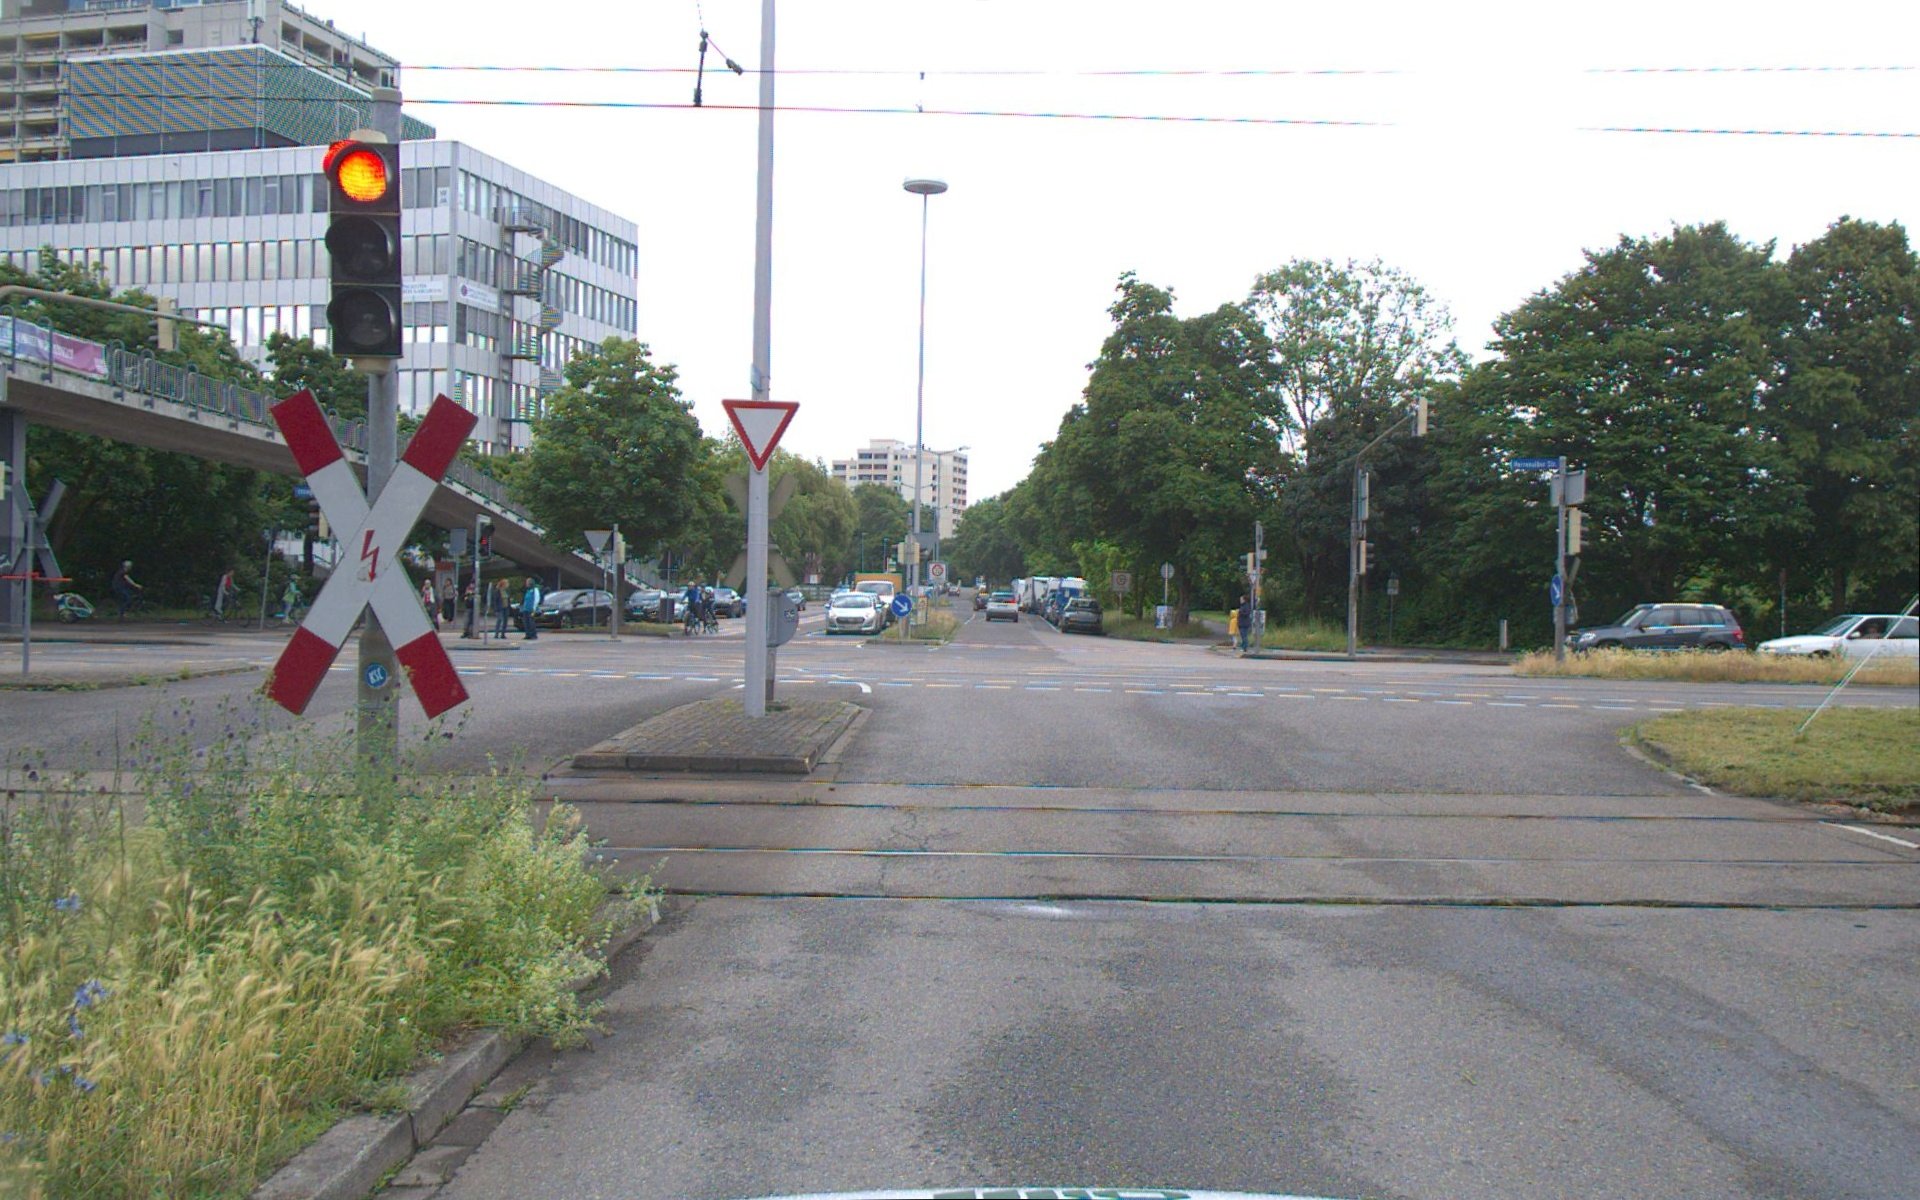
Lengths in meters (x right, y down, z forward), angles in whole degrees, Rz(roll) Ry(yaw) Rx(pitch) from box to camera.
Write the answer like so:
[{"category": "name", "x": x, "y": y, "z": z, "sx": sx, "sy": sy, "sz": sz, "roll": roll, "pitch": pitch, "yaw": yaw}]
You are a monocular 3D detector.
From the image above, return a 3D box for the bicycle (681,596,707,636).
[{"category": "bicycle", "x": -8.978, "y": 0.530, "z": 55.919, "sx": 0.532, "sy": 1.289, "sz": 2.110, "roll": 1, "pitch": 0, "yaw": -1}]

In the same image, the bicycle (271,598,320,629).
[{"category": "bicycle", "x": -21.677, "y": 0.430, "z": 54.016, "sx": 0.618, "sy": 0.941, "sz": 2.523, "roll": 1, "pitch": 0, "yaw": -1}]

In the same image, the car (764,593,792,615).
[{"category": "car", "x": -13.811, "y": 0.277, "z": 125.435, "sx": 1.637, "sy": 1.579, "sz": 4.000, "roll": 1, "pitch": 0, "yaw": 0}]

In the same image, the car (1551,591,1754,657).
[{"category": "car", "x": 17.562, "y": 0.592, "z": 42.085, "sx": 4.373, "sy": 1.530, "sz": 1.846, "roll": 1, "pitch": 0, "yaw": 0}]

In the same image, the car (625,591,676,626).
[{"category": "car", "x": -14.459, "y": 0.387, "z": 77.414, "sx": 1.637, "sy": 1.579, "sz": 3.892, "roll": 1, "pitch": 0, "yaw": 0}]

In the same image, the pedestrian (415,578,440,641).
[{"category": "pedestrian", "x": -14.617, "y": 0.253, "z": 45.401, "sx": 0.608, "sy": 1.721, "sz": 0.404, "roll": 1, "pitch": 0, "yaw": -15}]

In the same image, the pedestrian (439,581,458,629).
[{"category": "pedestrian", "x": -17.409, "y": 0.162, "z": 56.268, "sx": 0.570, "sy": 1.607, "sz": 0.777, "roll": 1, "pitch": 0, "yaw": -19}]

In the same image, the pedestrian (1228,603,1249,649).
[{"category": "pedestrian", "x": 8.400, "y": 0.789, "z": 49.974, "sx": 0.516, "sy": 1.365, "sz": 0.525, "roll": 1, "pitch": 0, "yaw": -1}]

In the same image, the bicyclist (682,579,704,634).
[{"category": "bicyclist", "x": -8.950, "y": 0.216, "z": 55.441, "sx": 0.631, "sy": 1.799, "sz": 0.646, "roll": 1, "pitch": 0, "yaw": -1}]

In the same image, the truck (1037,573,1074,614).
[{"category": "truck", "x": 6.909, "y": -0.472, "z": 120.171, "sx": 1.954, "sy": 2.888, "sz": 5.726, "roll": 1, "pitch": 0, "yaw": -4}]

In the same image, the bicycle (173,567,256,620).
[{"category": "bicycle", "x": -23.976, "y": -0.212, "z": 53.231, "sx": 2.316, "sy": 1.653, "sz": 0.526, "roll": 1, "pitch": 0, "yaw": -12}]

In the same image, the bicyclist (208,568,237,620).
[{"category": "bicyclist", "x": -23.755, "y": -0.207, "z": 53.288, "sx": 0.734, "sy": 1.653, "sz": 0.526, "roll": 1, "pitch": 0, "yaw": -11}]

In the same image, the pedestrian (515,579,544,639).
[{"category": "pedestrian", "x": -11.880, "y": 0.239, "z": 45.642, "sx": 0.673, "sy": 1.633, "sz": 0.487, "roll": 1, "pitch": 0, "yaw": -5}]

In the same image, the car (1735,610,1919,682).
[{"category": "car", "x": 18.604, "y": 0.946, "z": 34.561, "sx": 4.052, "sy": 1.381, "sz": 1.647, "roll": 1, "pitch": 0, "yaw": 0}]

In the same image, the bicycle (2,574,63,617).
[{"category": "bicycle", "x": -29.098, "y": -0.138, "z": 51.874, "sx": 1.669, "sy": 1.327, "sz": 0.389, "roll": 1, "pitch": 0, "yaw": 0}]

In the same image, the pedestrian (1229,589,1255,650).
[{"category": "pedestrian", "x": 8.409, "y": 0.583, "z": 49.346, "sx": 0.643, "sy": 1.780, "sz": 0.459, "roll": 1, "pitch": 0, "yaw": -1}]

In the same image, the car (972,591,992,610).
[{"category": "car", "x": 1.773, "y": 0.042, "z": 134.240, "sx": 1.522, "sy": 1.531, "sz": 3.999, "roll": 1, "pitch": 0, "yaw": -1}]

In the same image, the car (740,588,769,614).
[{"category": "car", "x": -13.077, "y": 0.064, "z": 105.323, "sx": 1.415, "sy": 1.579, "sz": 3.663, "roll": 1, "pitch": 0, "yaw": -1}]

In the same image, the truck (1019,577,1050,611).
[{"category": "truck", "x": 5.951, "y": -0.430, "z": 132.229, "sx": 1.954, "sy": 2.618, "sz": 5.375, "roll": 1, "pitch": 0, "yaw": -3}]

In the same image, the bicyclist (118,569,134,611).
[{"category": "bicyclist", "x": -26.542, "y": -0.322, "z": 52.650, "sx": 0.380, "sy": 1.326, "sz": 0.275, "roll": 1, "pitch": 0, "yaw": -38}]

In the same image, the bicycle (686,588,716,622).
[{"category": "bicycle", "x": -9.021, "y": 0.160, "z": 57.646, "sx": 0.712, "sy": 1.120, "sz": 2.264, "roll": 1, "pitch": 0, "yaw": -1}]

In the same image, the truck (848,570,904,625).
[{"category": "truck", "x": -3.599, "y": -0.129, "z": 71.756, "sx": 2.111, "sy": 2.237, "sz": 5.840, "roll": 1, "pitch": 0, "yaw": 0}]

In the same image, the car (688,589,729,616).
[{"category": "car", "x": -14.146, "y": 0.118, "z": 93.333, "sx": 1.727, "sy": 1.419, "sz": 3.999, "roll": 1, "pitch": 0, "yaw": -1}]

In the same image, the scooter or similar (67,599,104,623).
[{"category": "scooter or similar", "x": -27.503, "y": 0.346, "z": 52.025, "sx": 0.986, "sy": 0.727, "sz": 0.401, "roll": 1, "pitch": 0, "yaw": -36}]

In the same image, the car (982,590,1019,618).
[{"category": "car", "x": 2.287, "y": 0.195, "z": 94.261, "sx": 1.979, "sy": 1.531, "sz": 3.999, "roll": 1, "pitch": 0, "yaw": -1}]

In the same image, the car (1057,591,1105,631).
[{"category": "car", "x": 5.389, "y": 0.468, "z": 73.999, "sx": 1.747, "sy": 1.691, "sz": 3.999, "roll": 1, "pitch": 0, "yaw": -1}]

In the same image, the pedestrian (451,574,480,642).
[{"category": "pedestrian", "x": -13.624, "y": 0.216, "z": 45.587, "sx": 0.625, "sy": 1.835, "sz": 0.800, "roll": 1, "pitch": 0, "yaw": -10}]

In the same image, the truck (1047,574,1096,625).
[{"category": "truck", "x": 6.075, "y": 0.003, "z": 90.808, "sx": 2.130, "sy": 2.703, "sz": 6.245, "roll": 0, "pitch": 0, "yaw": -1}]

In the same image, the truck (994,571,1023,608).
[{"category": "truck", "x": 4.175, "y": -0.900, "z": 142.996, "sx": 1.954, "sy": 3.061, "sz": 5.767, "roll": 1, "pitch": 0, "yaw": -4}]

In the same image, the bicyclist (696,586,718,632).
[{"category": "bicyclist", "x": -8.932, "y": 0.318, "z": 58.408, "sx": 0.665, "sy": 1.622, "sz": 0.695, "roll": 1, "pitch": -1, "yaw": -1}]

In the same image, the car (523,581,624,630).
[{"category": "car", "x": -13.328, "y": 0.178, "z": 57.190, "sx": 1.636, "sy": 1.579, "sz": 4.003, "roll": 1, "pitch": 0, "yaw": 16}]

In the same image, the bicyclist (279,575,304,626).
[{"category": "bicyclist", "x": -21.829, "y": 0.017, "z": 54.007, "sx": 0.553, "sy": 1.673, "sz": 0.531, "roll": 1, "pitch": -1, "yaw": 0}]

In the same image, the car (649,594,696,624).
[{"category": "car", "x": -14.376, "y": 0.430, "z": 82.911, "sx": 1.637, "sy": 1.411, "sz": 3.895, "roll": 1, "pitch": 0, "yaw": 0}]

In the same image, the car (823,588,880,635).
[{"category": "car", "x": -3.748, "y": 0.386, "z": 57.905, "sx": 1.753, "sy": 1.545, "sz": 4.325, "roll": 1, "pitch": 0, "yaw": -1}]

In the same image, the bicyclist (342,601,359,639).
[{"category": "bicyclist", "x": -19.986, "y": 0.651, "z": 54.220, "sx": 0.396, "sy": 1.202, "sz": 0.377, "roll": 1, "pitch": 1, "yaw": 1}]

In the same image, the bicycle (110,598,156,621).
[{"category": "bicycle", "x": -26.402, "y": 0.315, "z": 52.820, "sx": 1.283, "sy": 0.704, "sz": 0.286, "roll": 1, "pitch": 0, "yaw": -37}]

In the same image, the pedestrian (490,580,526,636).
[{"category": "pedestrian", "x": -12.497, "y": 0.219, "z": 45.719, "sx": 0.901, "sy": 1.537, "sz": 0.403, "roll": 1, "pitch": 0, "yaw": -12}]
